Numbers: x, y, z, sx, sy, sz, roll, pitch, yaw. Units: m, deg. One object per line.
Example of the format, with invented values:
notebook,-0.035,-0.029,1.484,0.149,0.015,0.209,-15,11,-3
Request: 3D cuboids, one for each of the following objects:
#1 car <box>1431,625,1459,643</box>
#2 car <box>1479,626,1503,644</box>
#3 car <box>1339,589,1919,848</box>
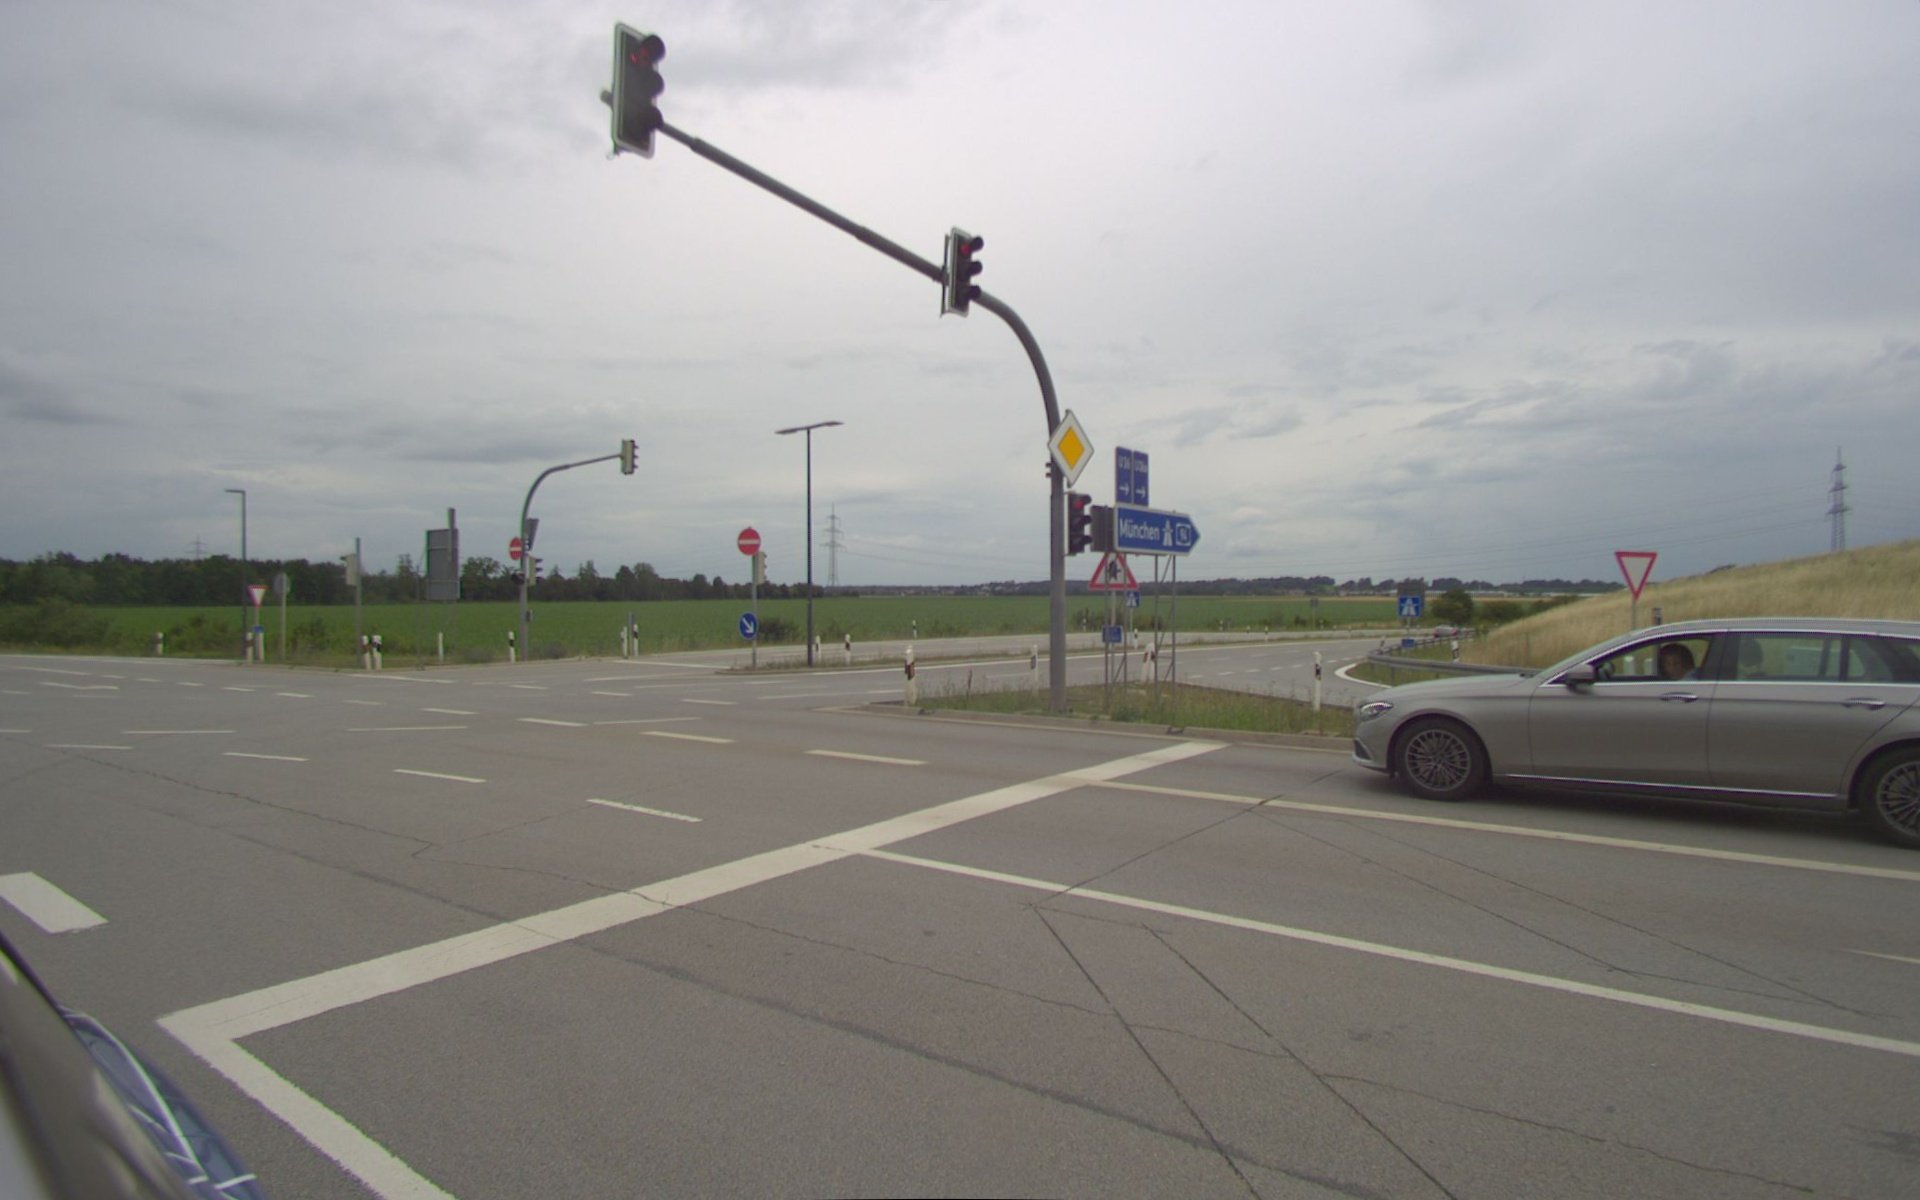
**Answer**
car,43.054,3.015,89.887,1.810,1.532,4.196,-1,-2,32
car,56.334,3.713,107.307,1.993,1.707,4.407,0,0,32
car,5.709,0.791,7.771,4.939,1.623,1.897,-1,-3,36
